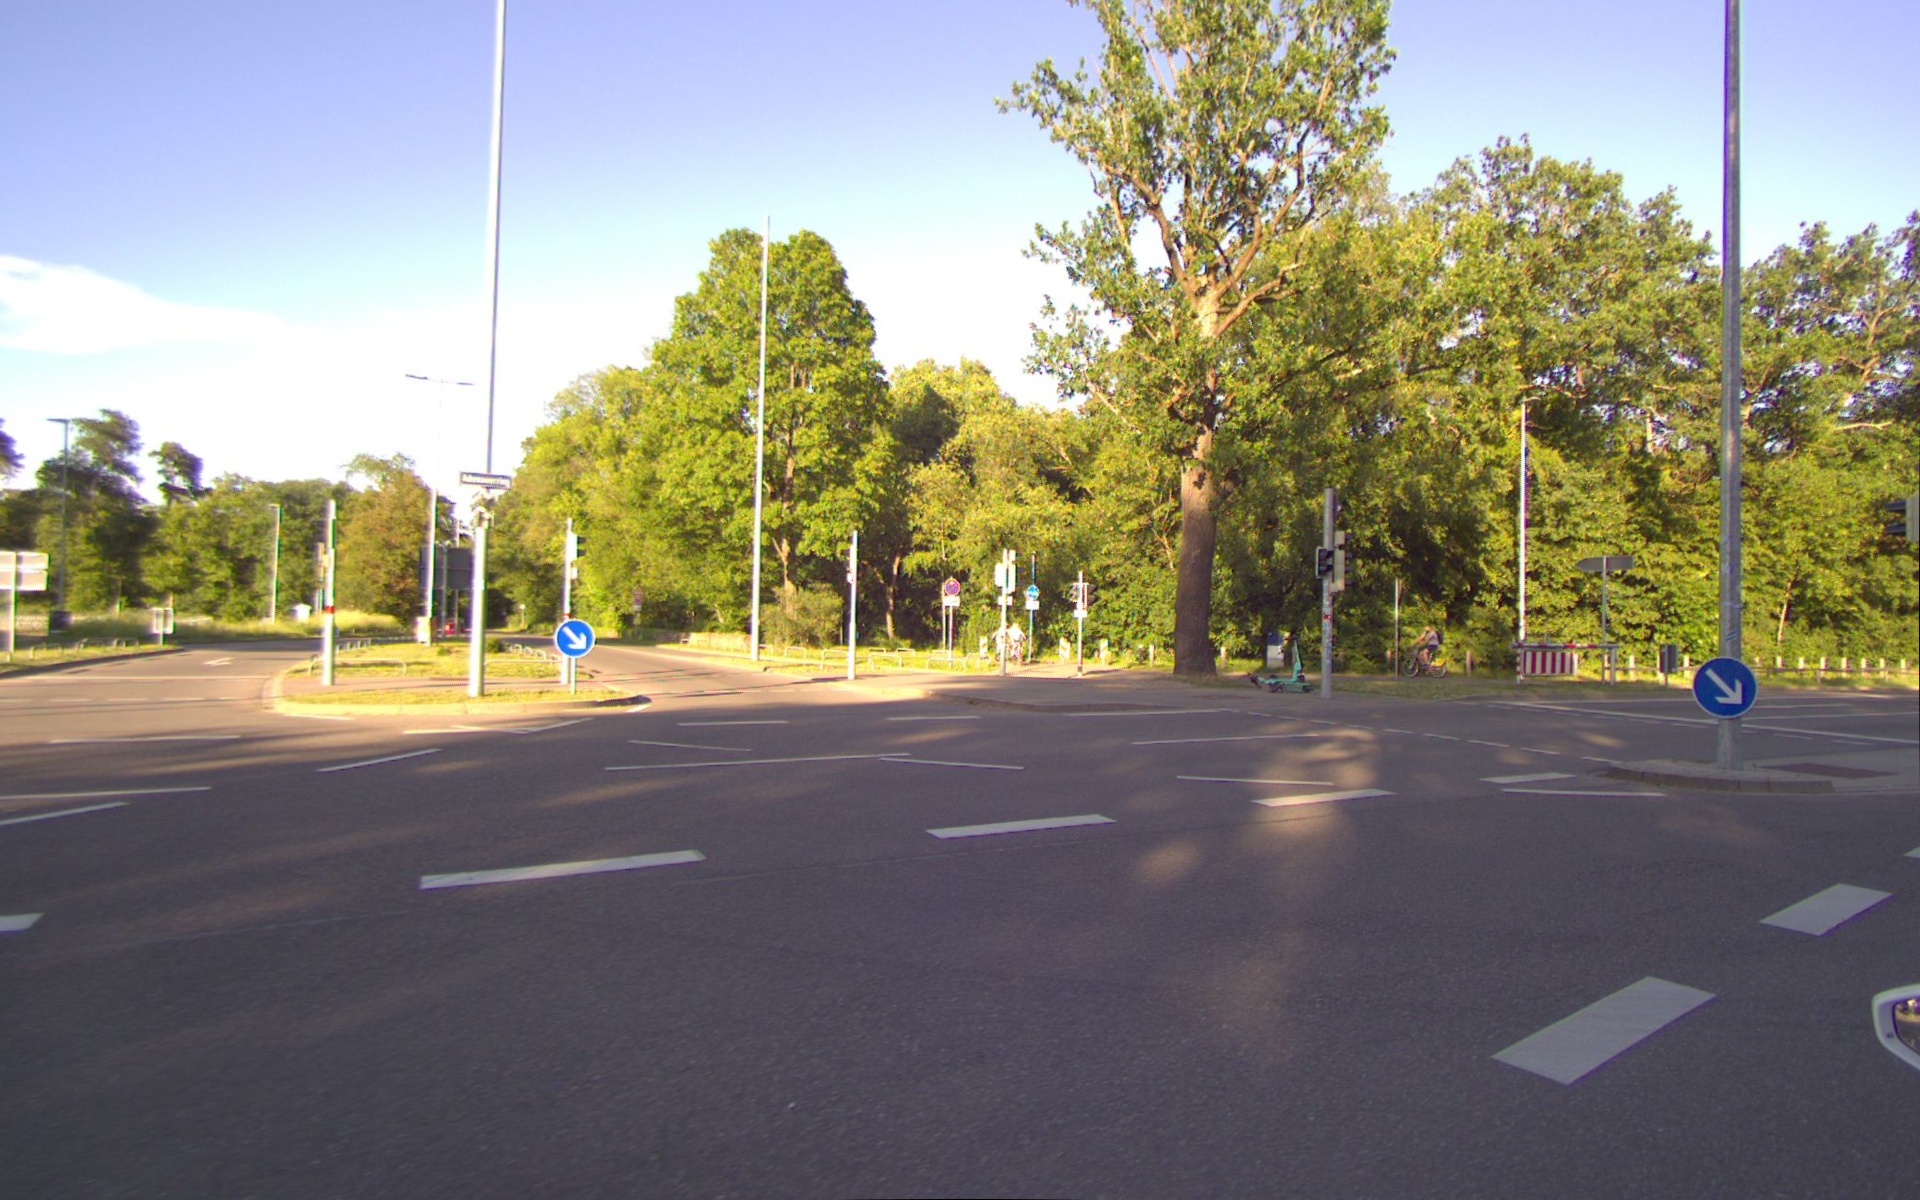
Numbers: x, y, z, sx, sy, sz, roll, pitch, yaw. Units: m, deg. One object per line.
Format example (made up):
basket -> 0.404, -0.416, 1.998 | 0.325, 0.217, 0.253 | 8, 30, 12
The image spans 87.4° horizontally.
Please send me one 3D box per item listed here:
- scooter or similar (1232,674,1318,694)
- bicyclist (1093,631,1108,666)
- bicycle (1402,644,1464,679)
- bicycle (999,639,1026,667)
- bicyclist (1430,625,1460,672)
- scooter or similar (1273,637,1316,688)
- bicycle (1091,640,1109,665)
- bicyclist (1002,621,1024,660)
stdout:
scooter or similar -> 7.022, 1.870, 22.445 | 1.241, 0.344, 1.405 | 1, -1, -20
bicyclist -> 5.952, 2.047, 42.591 | 0.508, 1.419, 0.529 | 2, 0, 17
bicycle -> 16.428, 2.117, 34.895 | 1.949, 1.169, 0.681 | 0, 0, -11
bicycle -> 2.064, 2.091, 39.745 | 0.770, 0.990, 1.589 | 2, 0, -7
bicyclist -> 16.883, 1.678, 34.983 | 0.786, 1.572, 0.563 | 0, 0, -11
scooter or similar -> 7.915, 1.459, 23.778 | 0.388, 1.162, 1.065 | 1, -1, -20
bicycle -> 5.947, 2.201, 42.600 | 0.512, 0.990, 1.356 | 2, 0, 17
bicyclist -> 2.089, 1.595, 39.662 | 0.716, 1.502, 0.799 | 2, 0, -7
